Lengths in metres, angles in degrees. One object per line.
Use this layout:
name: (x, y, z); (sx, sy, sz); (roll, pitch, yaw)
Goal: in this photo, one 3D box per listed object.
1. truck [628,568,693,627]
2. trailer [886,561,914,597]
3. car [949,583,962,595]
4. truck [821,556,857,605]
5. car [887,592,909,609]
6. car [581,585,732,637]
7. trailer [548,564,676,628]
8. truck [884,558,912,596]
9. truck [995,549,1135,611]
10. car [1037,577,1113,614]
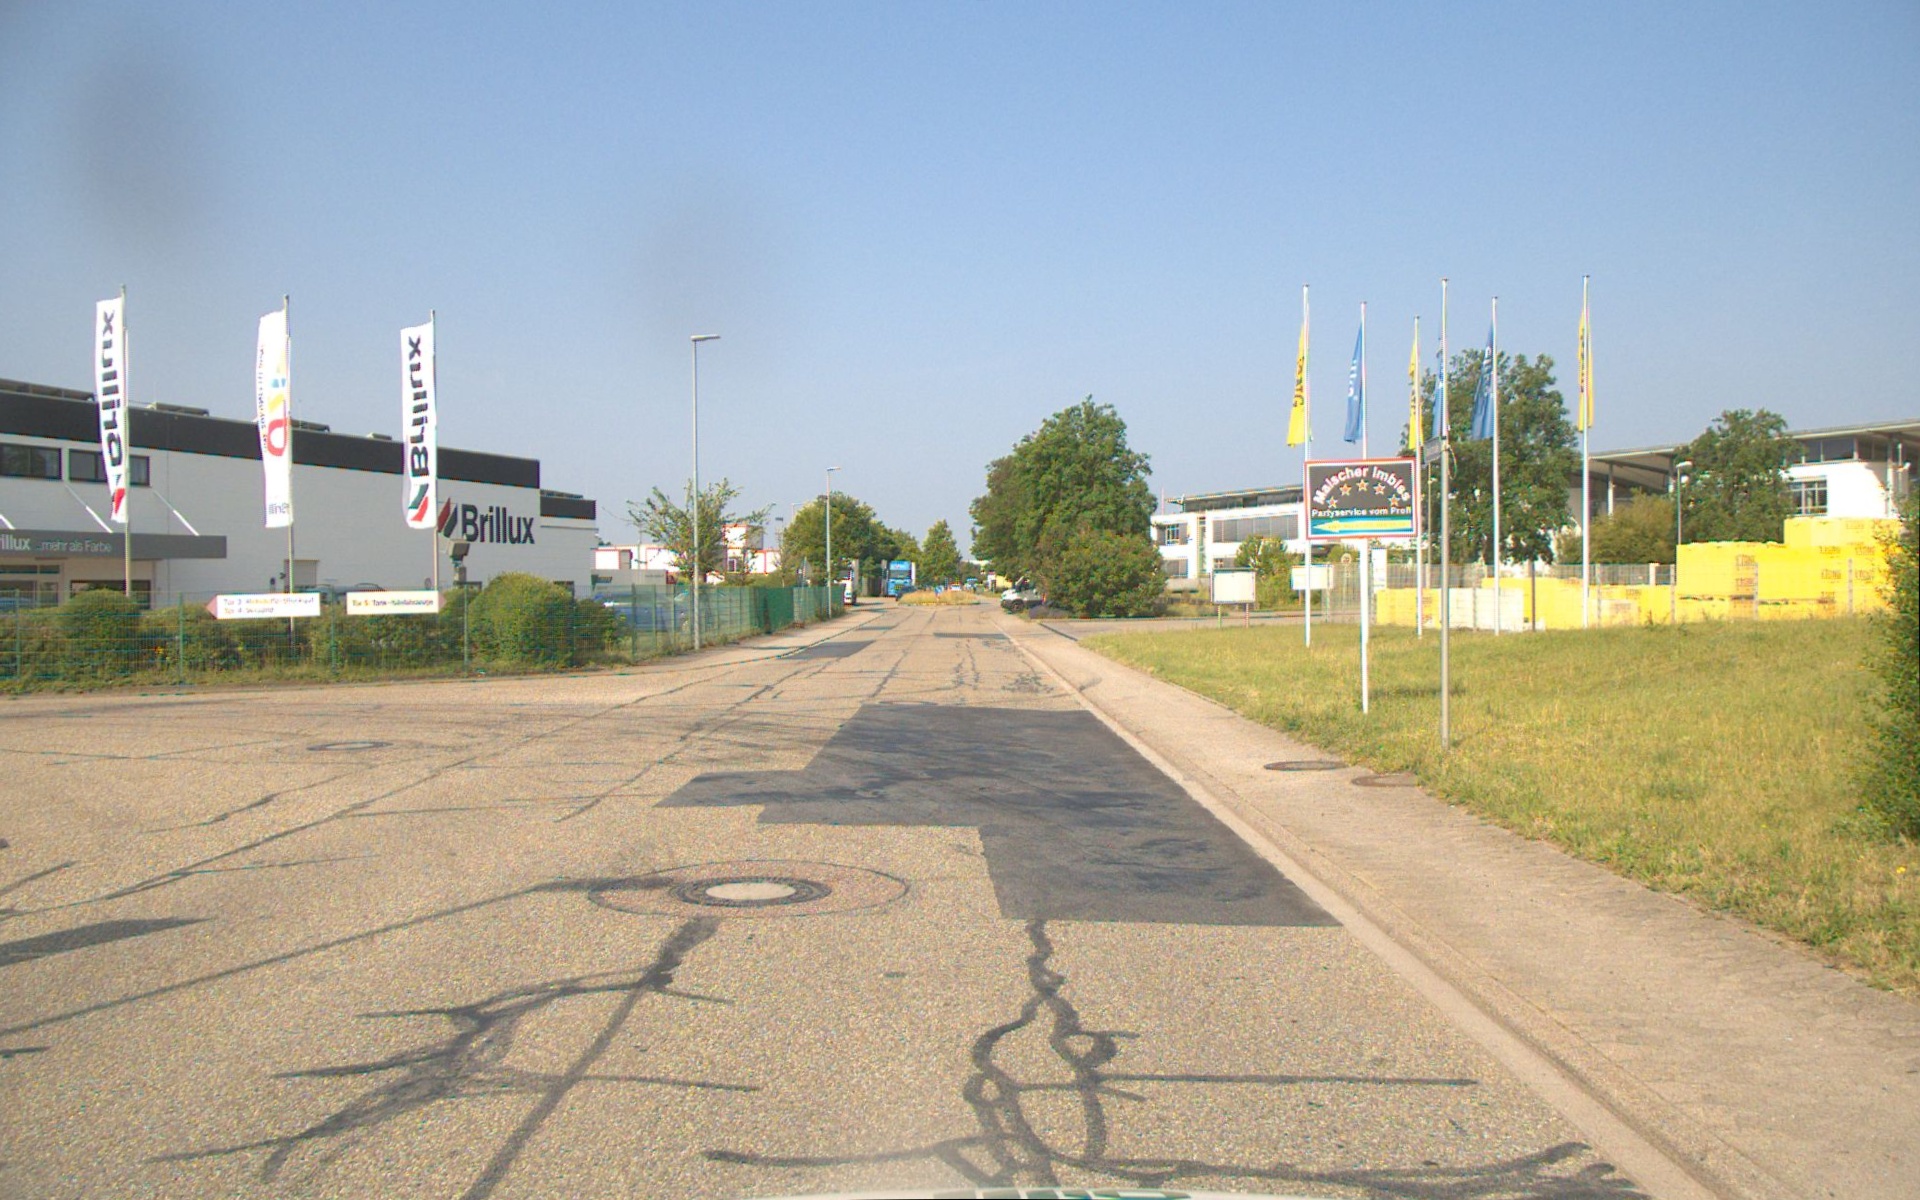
truck: (-21.755, -0.152, 120.411); (2.459, 4.142, 5.547); (1, -1, 15)
trailer: (-6.931, -2.371, 192.644); (2.773, 3.910, 12.034); (1, 0, -1)
car: (-0.640, -1.619, 240.663); (1.683, 1.690, 3.822); (1, -1, -2)
truck: (-10.110, -1.615, 138.367); (2.654, 3.990, 4.295); (1, -1, -1)
car: (-5.866, 0.015, 156.192); (1.954, 1.474, 4.418); (-3, 0, -2)
car: (-10.009, 0.351, 54.806); (4.591, 1.469, 2.078); (-2, 0, -1)
trailer: (-23.628, -0.160, 113.388); (2.429, 4.112, 13.897); (1, -1, 15)
truck: (-6.819, -2.451, 182.617); (2.768, 3.892, 9.671); (1, -1, -1)
truck: (6.226, -1.168, 98.712); (8.042, 3.429, 2.740); (-1, -1, -2)
car: (6.083, -0.242, 88.071); (3.905, 1.870, 2.000); (-1, 0, 1)
